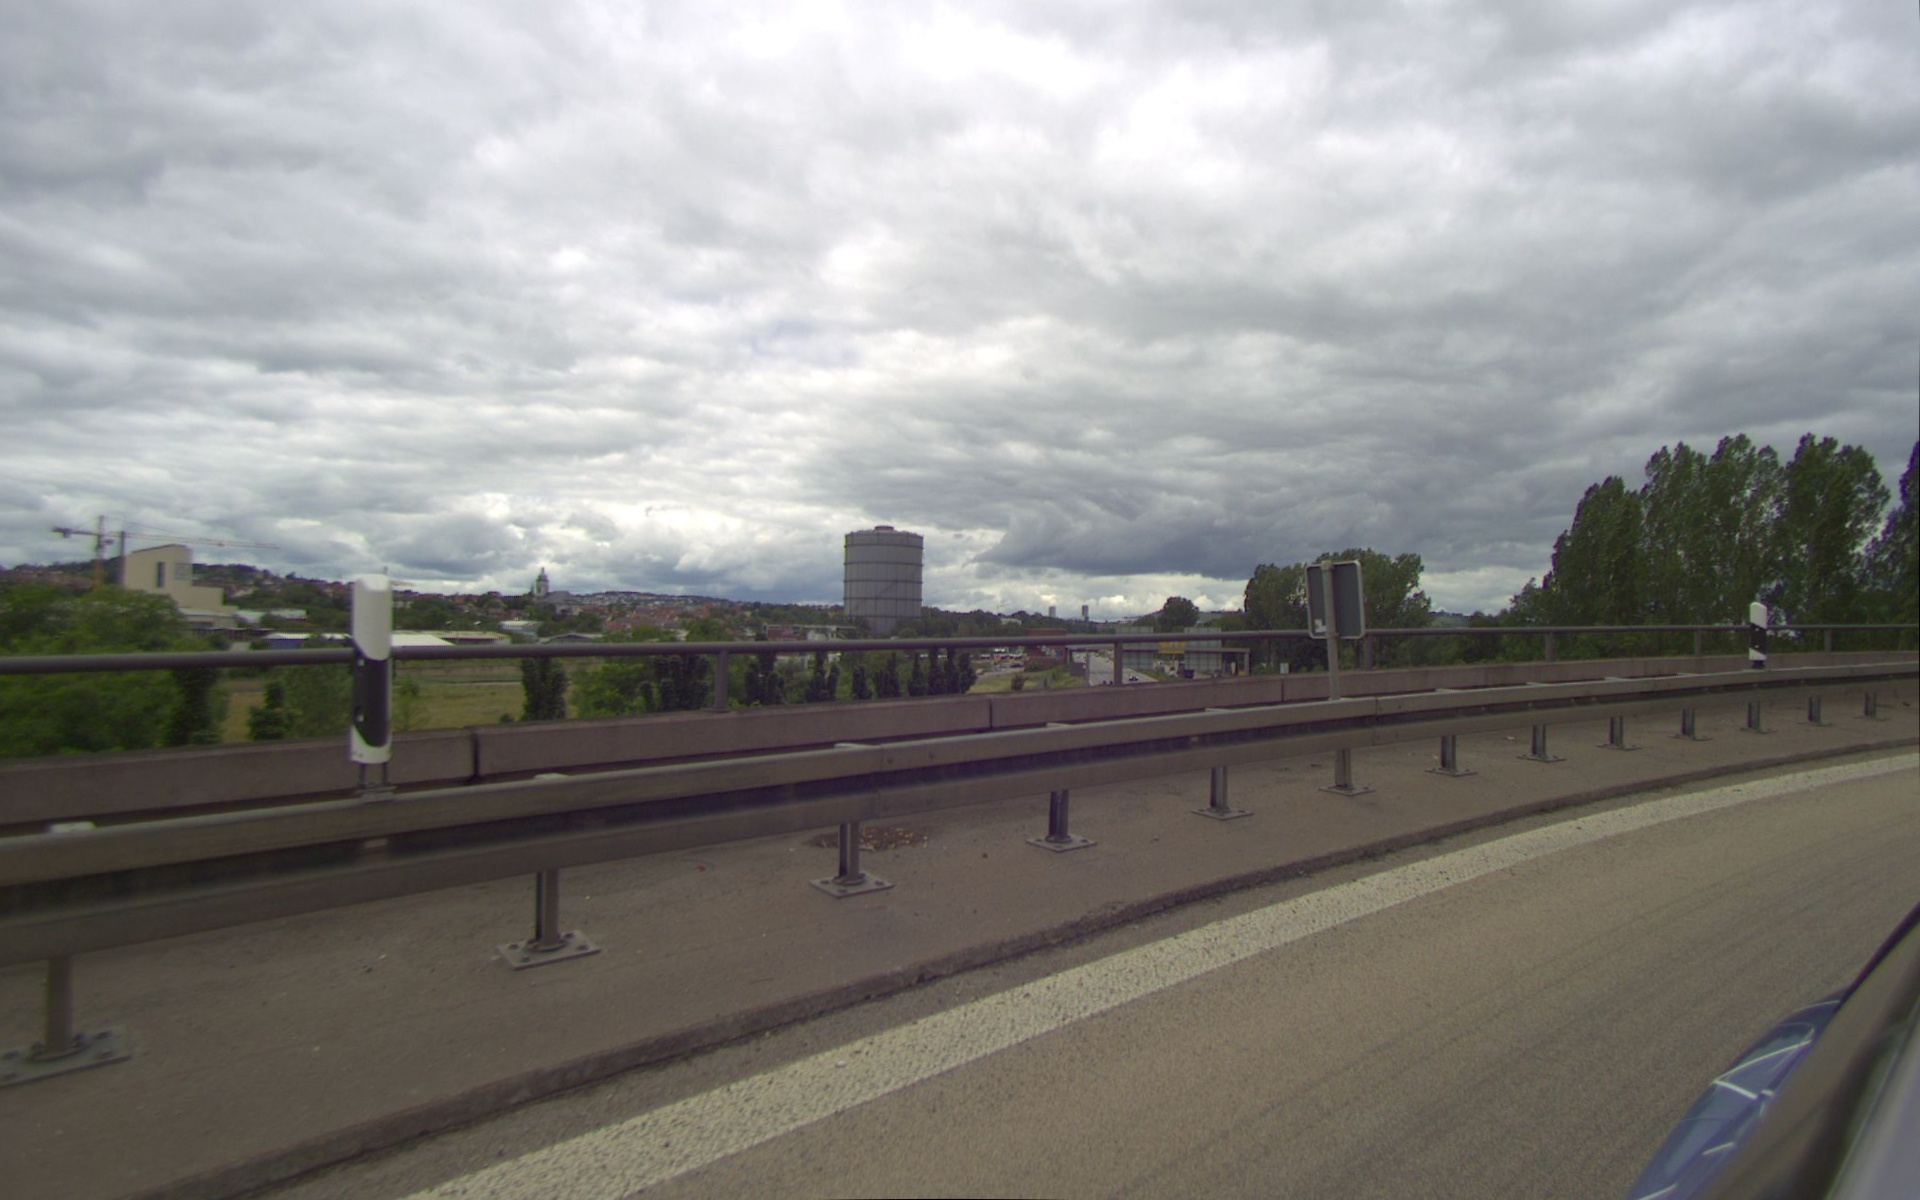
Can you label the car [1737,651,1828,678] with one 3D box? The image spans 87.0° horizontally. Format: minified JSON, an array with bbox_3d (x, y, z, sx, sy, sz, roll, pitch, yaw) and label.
[{"bbox_3d":[46.640,3.696,57.476,1.755,1.428,3.934,2,-5,-3],"label":"car"}]
